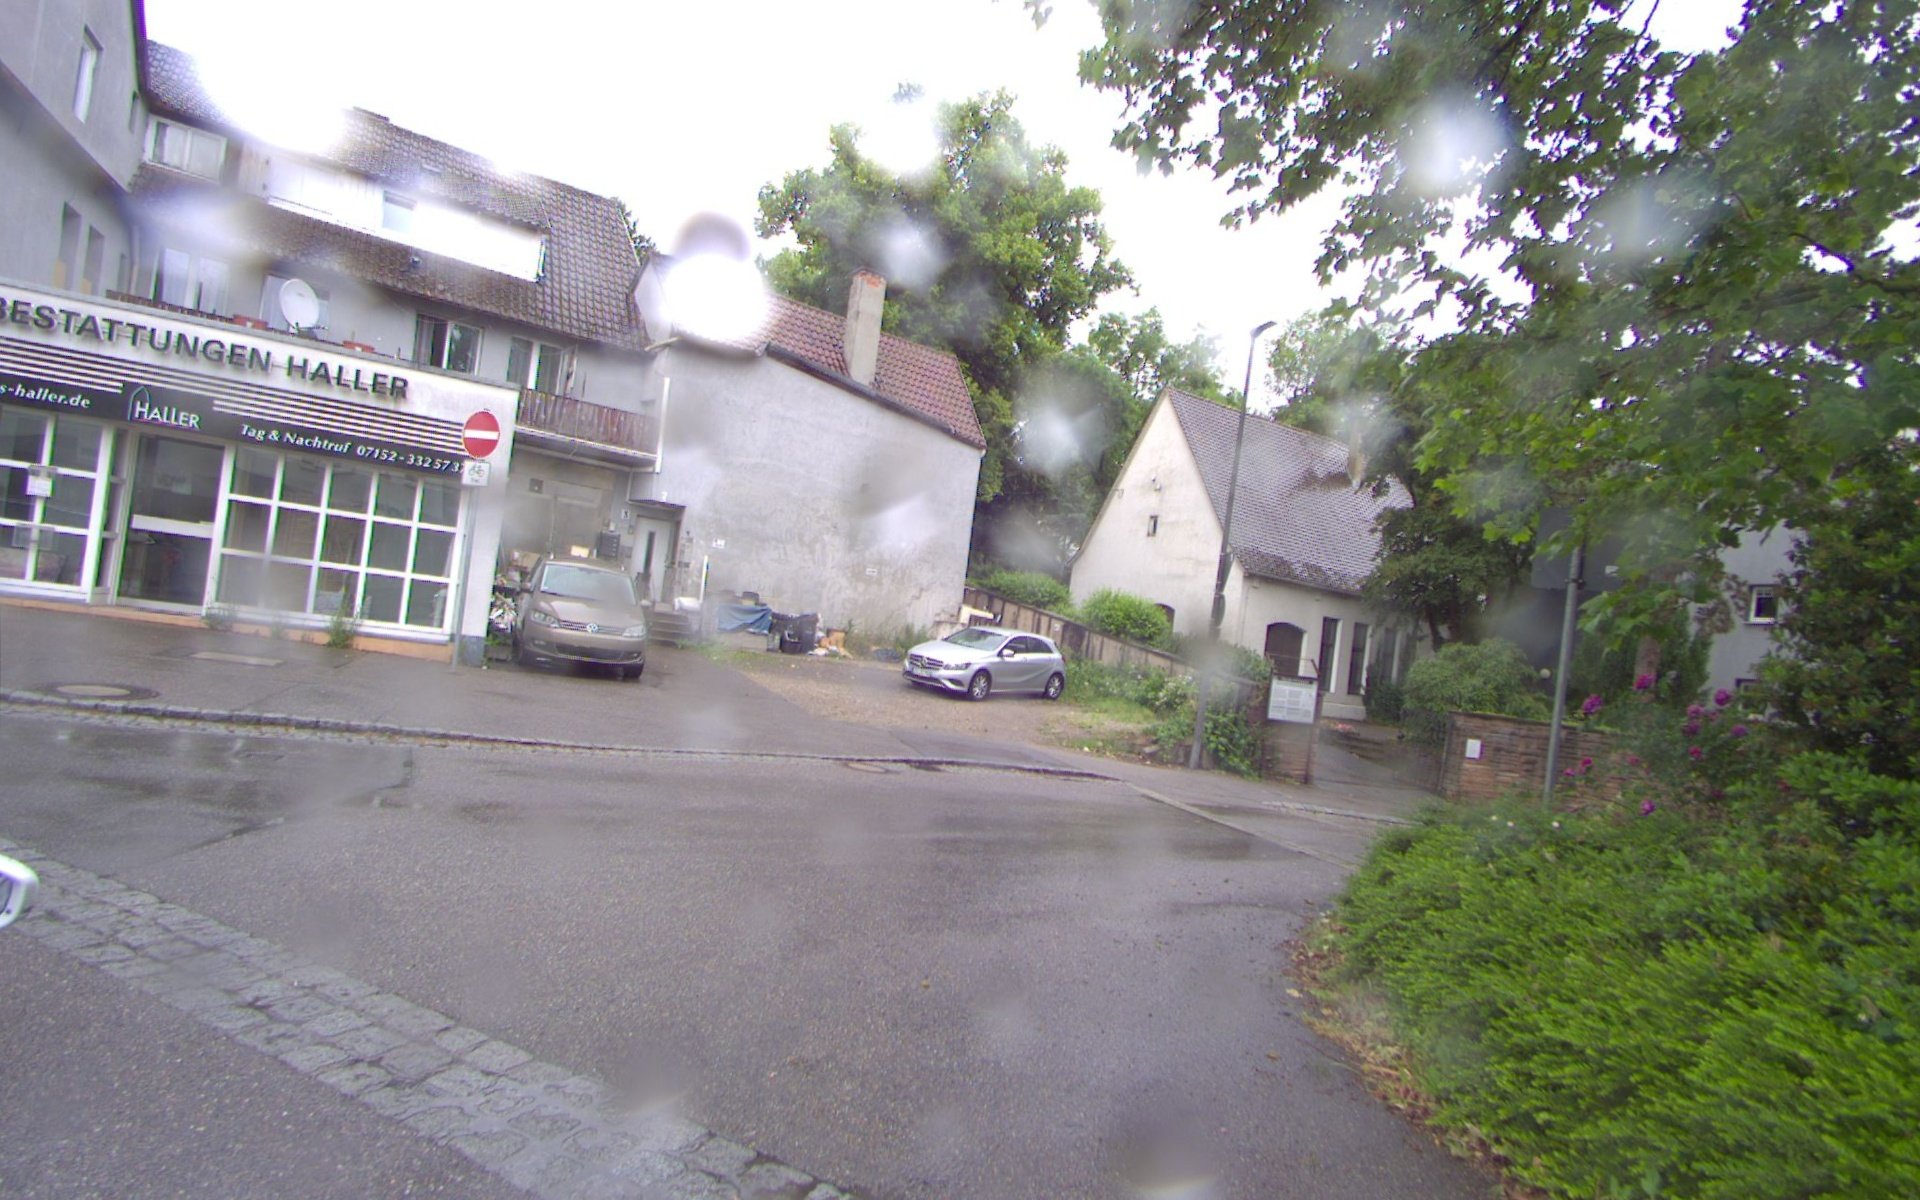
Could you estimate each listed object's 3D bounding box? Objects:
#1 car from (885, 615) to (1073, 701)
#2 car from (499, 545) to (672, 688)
[{"bbox_3d":[0.493,1.285,21.389,1.717,1.406,4.022,10,2,40],"label":"car"},{"bbox_3d":[-6.299,0.157,16.558,1.908,1.749,4.634,8,0,-28],"label":"car"}]
